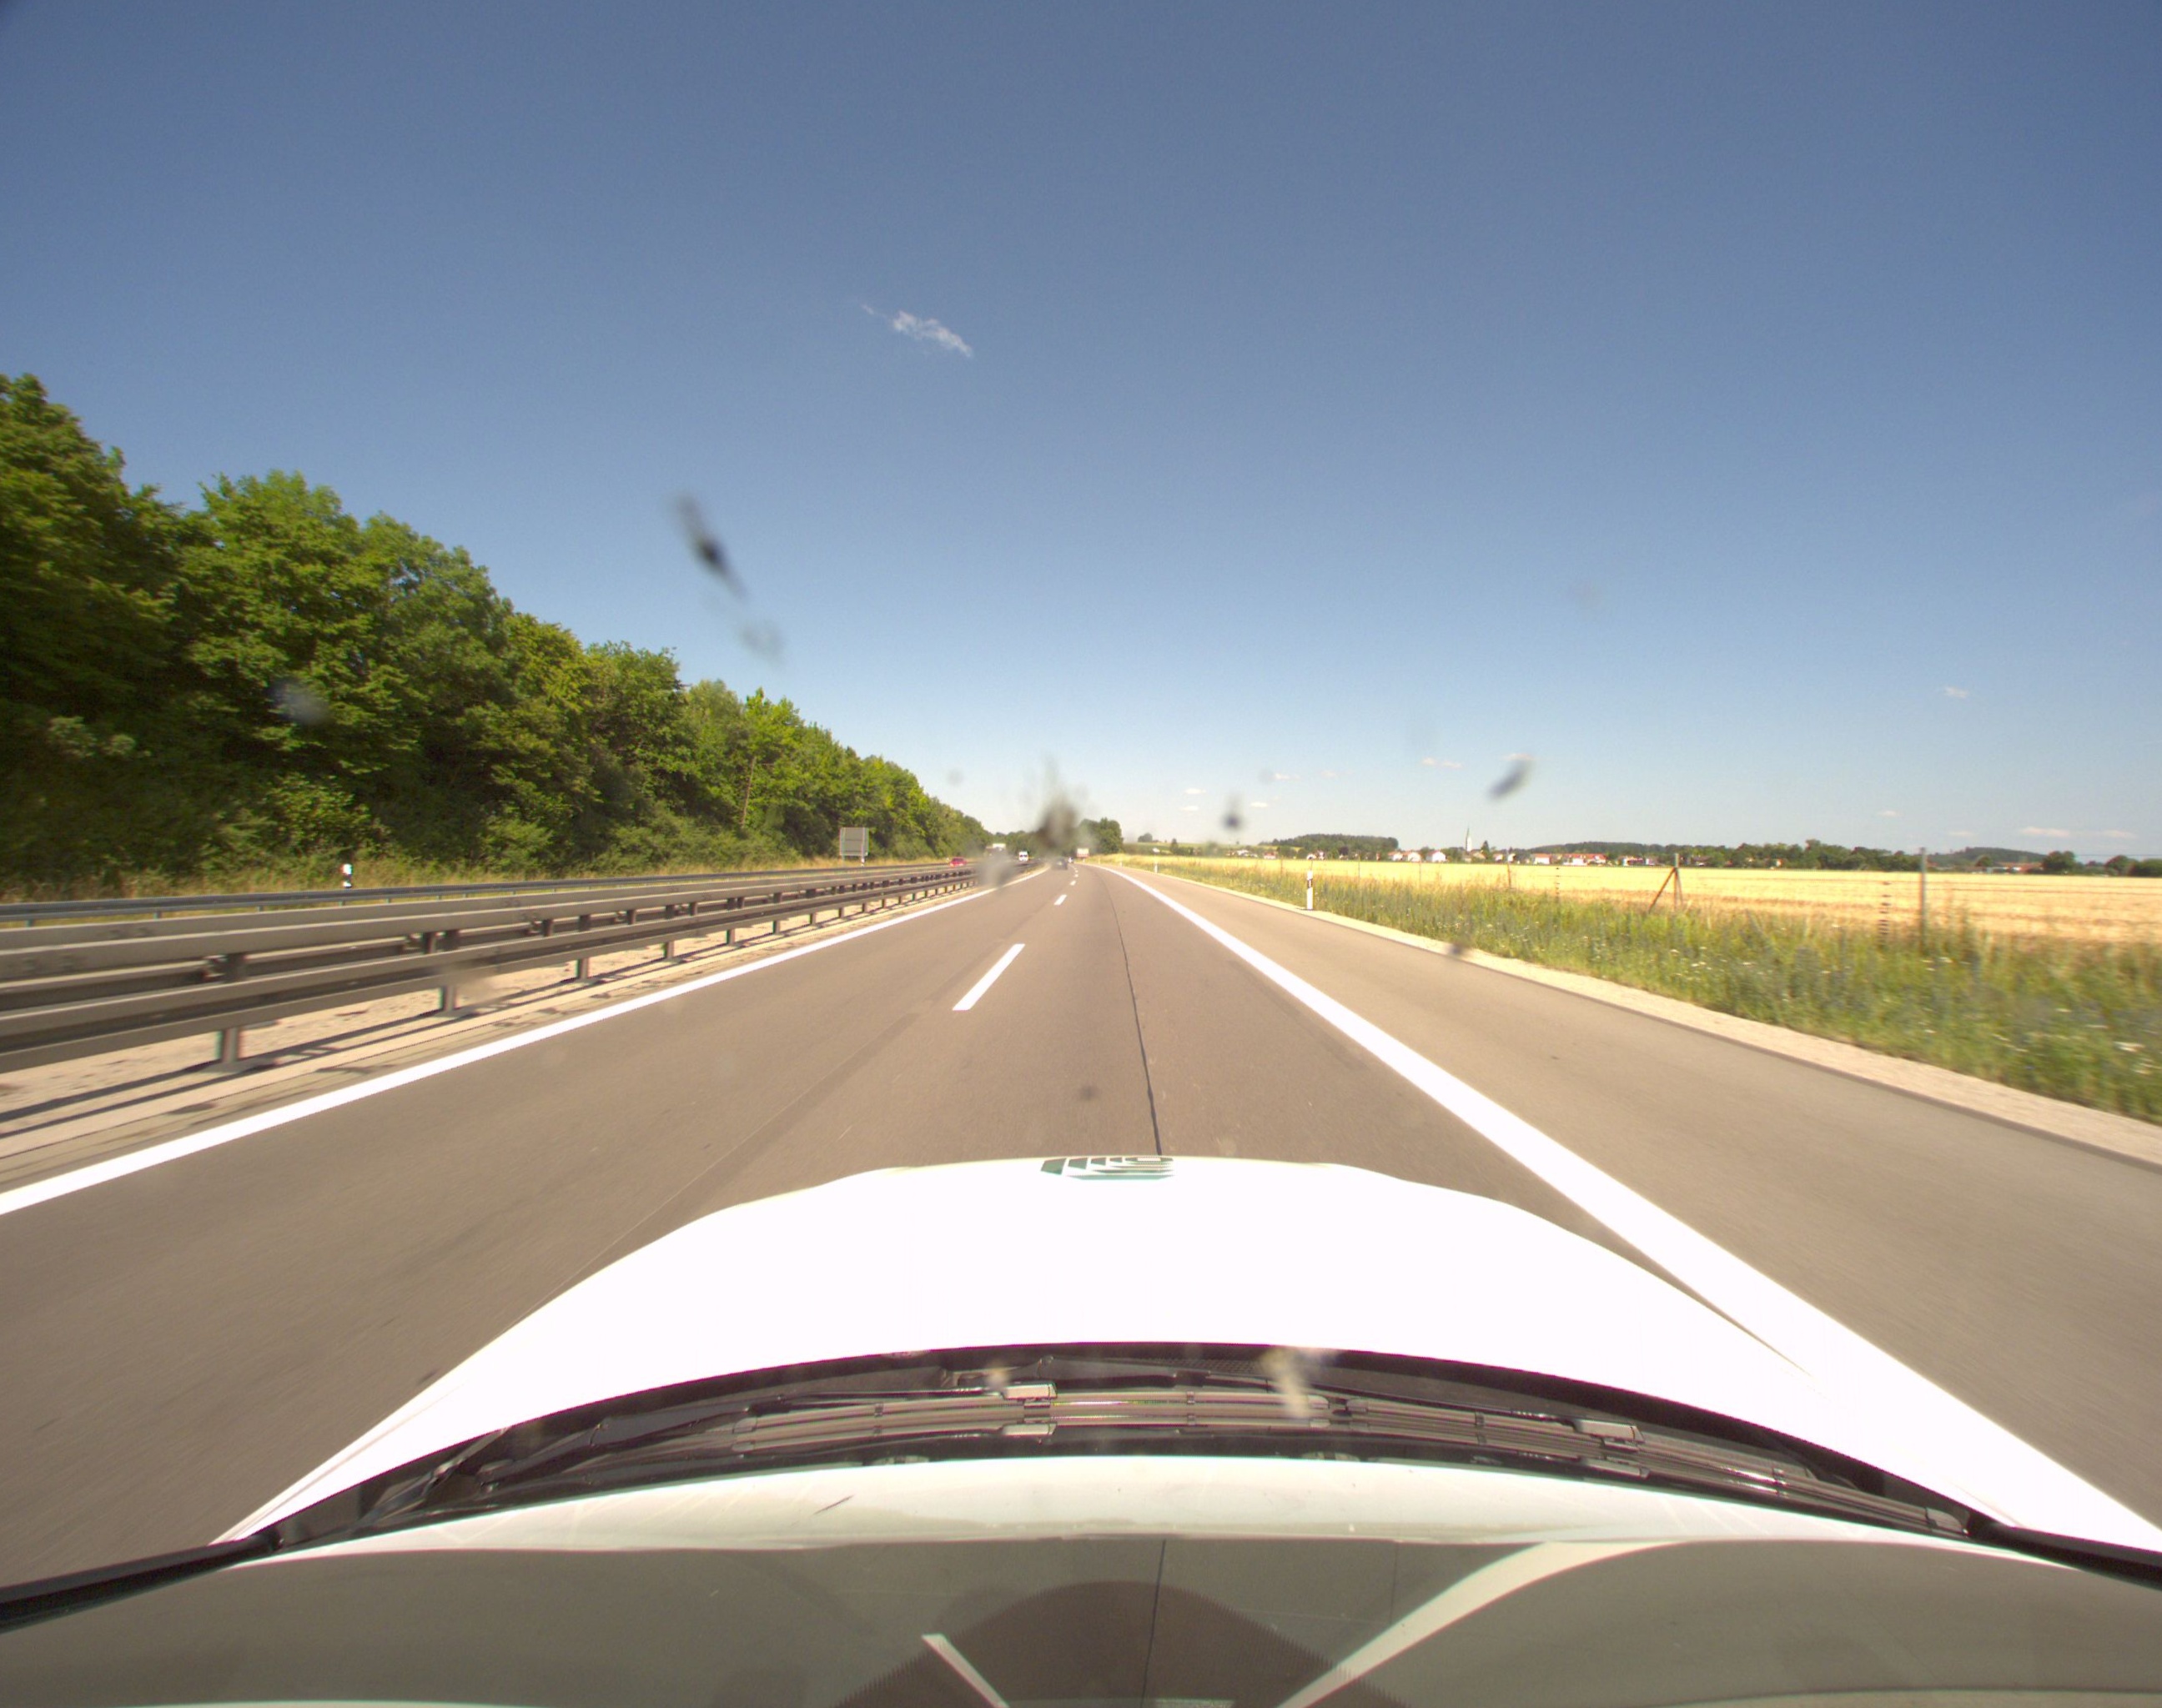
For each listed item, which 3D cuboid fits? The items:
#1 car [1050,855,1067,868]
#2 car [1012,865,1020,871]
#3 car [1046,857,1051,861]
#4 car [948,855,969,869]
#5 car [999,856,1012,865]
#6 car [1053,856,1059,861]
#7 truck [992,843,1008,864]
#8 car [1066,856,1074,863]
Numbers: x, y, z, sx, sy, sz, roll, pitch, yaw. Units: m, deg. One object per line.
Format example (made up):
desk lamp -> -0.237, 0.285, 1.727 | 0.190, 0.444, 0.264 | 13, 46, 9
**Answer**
car -> -2.623, 0.885, 96.486 | 1.841, 1.432, 5.866 | 0, 0, 1
car -> -17.977, 3.806, 225.261 | 1.752, 1.626, 4.000 | 0, 0, 0
car -> -10.171, 1.577, 255.435 | 1.670, 1.453, 3.591 | 0, 0, 0
car -> -13.432, 0.876, 89.308 | 1.667, 1.437, 4.142 | 0, 0, 0
car -> -12.403, 1.060, 133.869 | 1.680, 1.483, 4.976 | 0, 0, 0
car -> -7.017, 1.306, 227.325 | 1.672, 1.453, 3.589 | 0, 0, -2
truck -> -15.684, -0.086, 157.893 | 2.738, 3.829, 5.907 | 0, 0, -2
car -> -2.679, 1.343, 198.217 | 1.672, 1.453, 3.588 | 0, 0, -3
